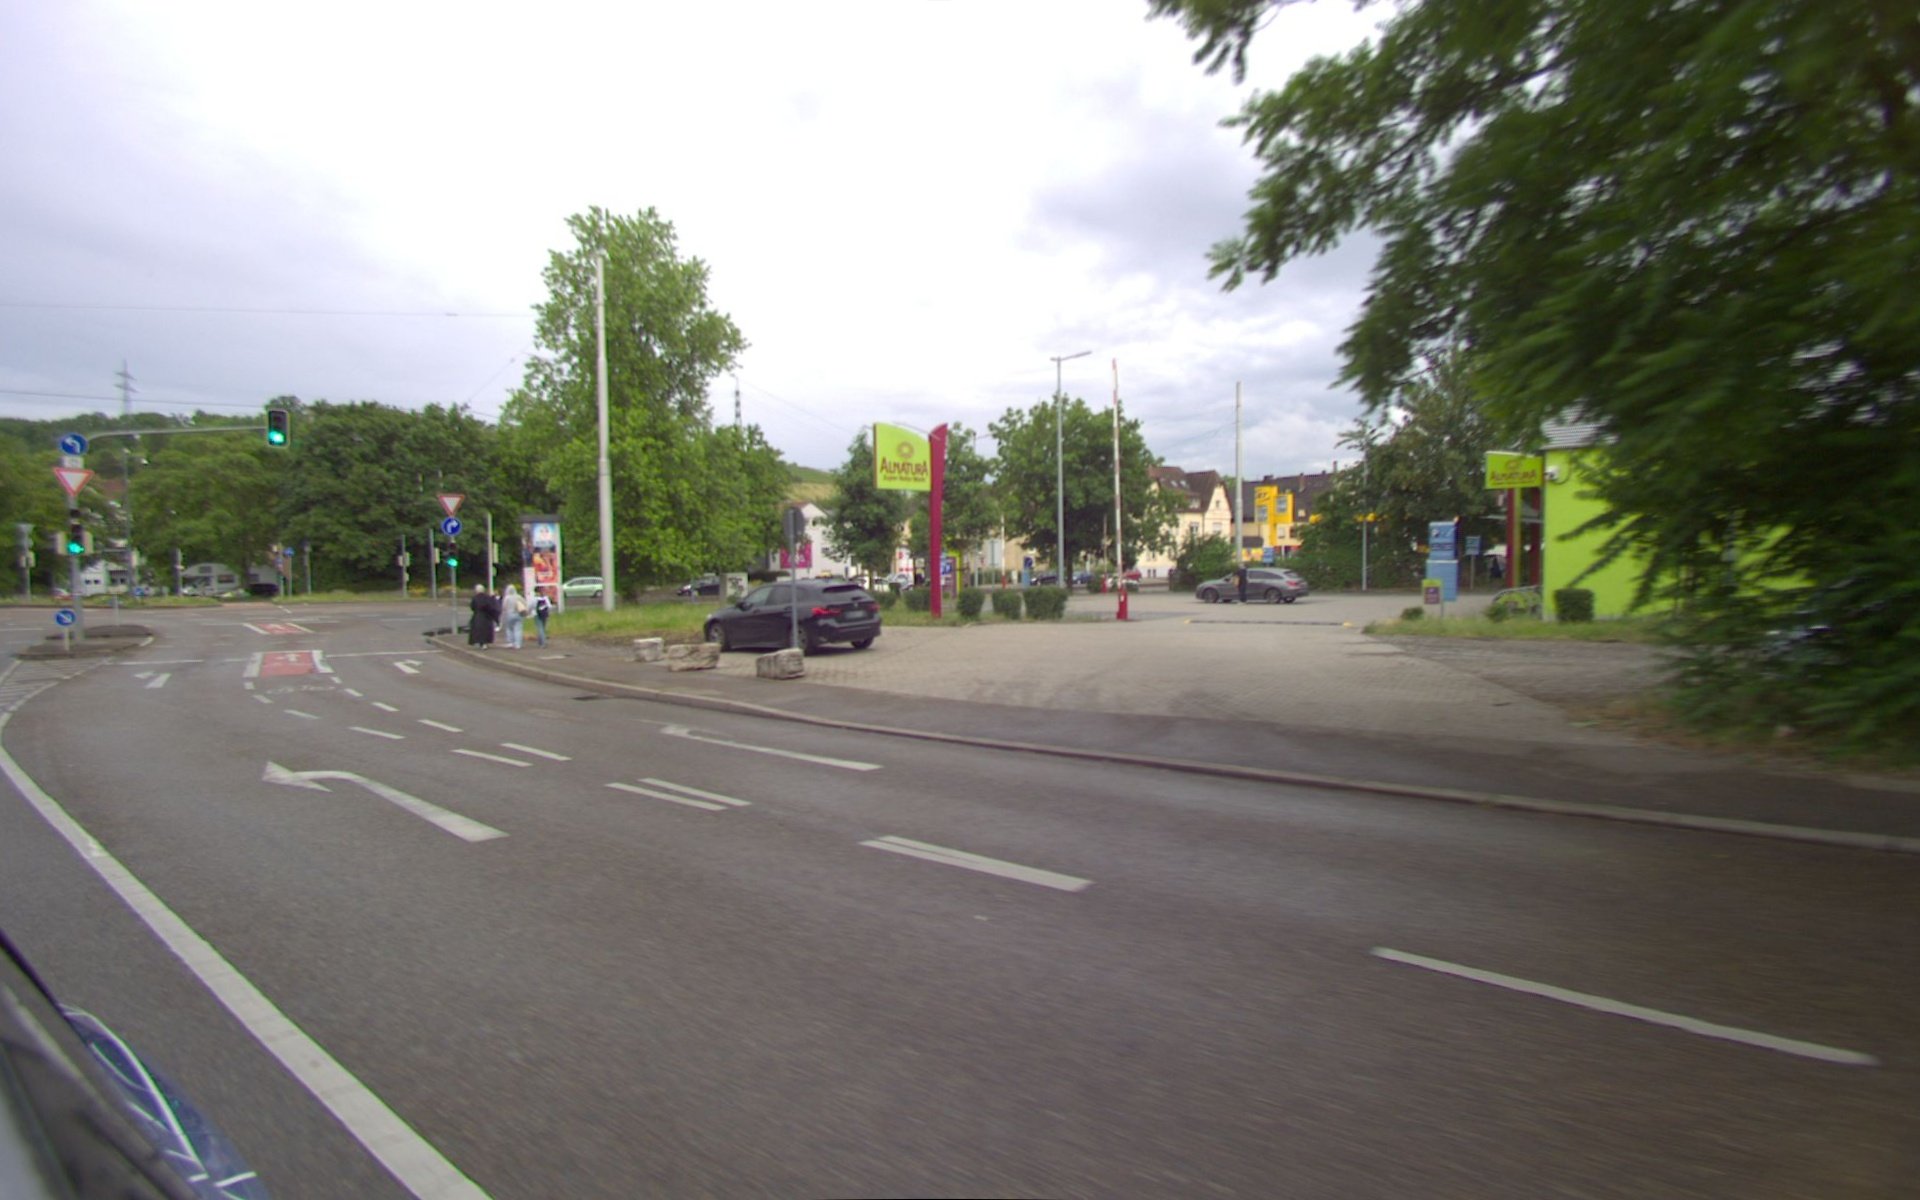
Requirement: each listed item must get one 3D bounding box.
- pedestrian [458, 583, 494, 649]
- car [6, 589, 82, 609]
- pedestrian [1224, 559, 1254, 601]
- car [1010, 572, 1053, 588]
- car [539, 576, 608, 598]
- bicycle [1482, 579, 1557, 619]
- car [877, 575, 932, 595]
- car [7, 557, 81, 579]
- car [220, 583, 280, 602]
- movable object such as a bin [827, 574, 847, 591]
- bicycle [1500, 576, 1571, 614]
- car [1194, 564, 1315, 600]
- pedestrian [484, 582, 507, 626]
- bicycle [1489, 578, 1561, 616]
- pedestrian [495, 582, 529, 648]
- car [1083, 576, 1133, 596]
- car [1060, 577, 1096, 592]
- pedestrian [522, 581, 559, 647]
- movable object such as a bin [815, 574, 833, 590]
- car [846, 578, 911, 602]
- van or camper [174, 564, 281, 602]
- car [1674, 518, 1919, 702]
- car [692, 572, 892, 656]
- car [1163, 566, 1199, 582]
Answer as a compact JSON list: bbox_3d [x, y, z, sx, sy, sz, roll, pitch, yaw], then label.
[{"bbox_3d":[-12.359,0.393,25.845,0.647,1.614,0.679,-4,2,-34],"label":"pedestrian"},{"bbox_3d":[-65.864,-0.100,72.808,1.679,1.364,3.943,1,2,44],"label":"car"},{"bbox_3d":[10.979,-0.782,39.833,0.747,1.609,0.805,-4,2,-40],"label":"pedestrian"},{"bbox_3d":[7.434,-2.085,105.253,4.370,1.545,1.846,-3,1,-40],"label":"car"},{"bbox_3d":[-26.973,-0.944,70.723,4.135,1.460,1.892,-2,2,-41],"label":"car"},{"bbox_3d":[14.311,-0.036,25.908,1.615,0.989,0.526,0,1,42],"label":"bicycle"},{"bbox_3d":[-4.518,-1.224,82.409,4.136,1.435,1.892,-5,2,-40],"label":"car"},{"bbox_3d":[-67.333,-2.326,74.409,1.679,1.560,3.943,1,2,44],"label":"car"},{"bbox_3d":[-53.328,-0.594,75.994,1.679,1.364,3.423,1,2,44],"label":"car"},{"bbox_3d":[-11.519,-1.647,94.773,1.280,1.428,1.317,-5,2,-42],"label":"movable object such as a bin"},{"bbox_3d":[15.712,-0.137,27.649,1.615,0.989,0.526,0,1,42],"label":"bicycle"},{"bbox_3d":[11.935,-0.723,41.174,4.378,1.355,1.751,0,2,43],"label":"car"},{"bbox_3d":[-16.997,0.151,37.010,0.583,1.543,0.670,-4,2,-33],"label":"pedestrian"},{"bbox_3d":[15.012,-0.082,26.914,1.615,0.989,0.526,0,1,42],"label":"bicycle"},{"bbox_3d":[-11.354,0.380,25.656,0.597,1.614,0.679,-4,2,-34],"label":"pedestrian"},{"bbox_3d":[11.785,-1.116,80.251,4.361,1.447,1.593,-3,4,-44],"label":"car"},{"bbox_3d":[12.754,-1.645,109.324,3.869,1.454,1.675,-4,2,-41],"label":"car"},{"bbox_3d":[-10.756,0.351,25.938,0.647,1.614,0.679,-4,2,-34],"label":"pedestrian"},{"bbox_3d":[-12.627,-1.692,93.697,1.118,1.428,1.189,-4,2,-42],"label":"movable object such as a bin"},{"bbox_3d":[-5.176,-0.661,64.560,3.937,1.493,1.695,-1,2,-40],"label":"car"},{"bbox_3d":[-55.970,-1.316,77.443,6.336,2.775,2.433,-2,2,-44],"label":"van or camper"},{"bbox_3d":[9.623,-0.041,10.248,4.055,1.554,2.007,-4,2,-22],"label":"car"},{"bbox_3d":[-3.487,0.242,20.541,4.234,1.459,1.728,0,4,43],"label":"car"},{"bbox_3d":[26.397,-3.140,120.648,4.452,1.769,1.856,-3,2,-41],"label":"car"}]
